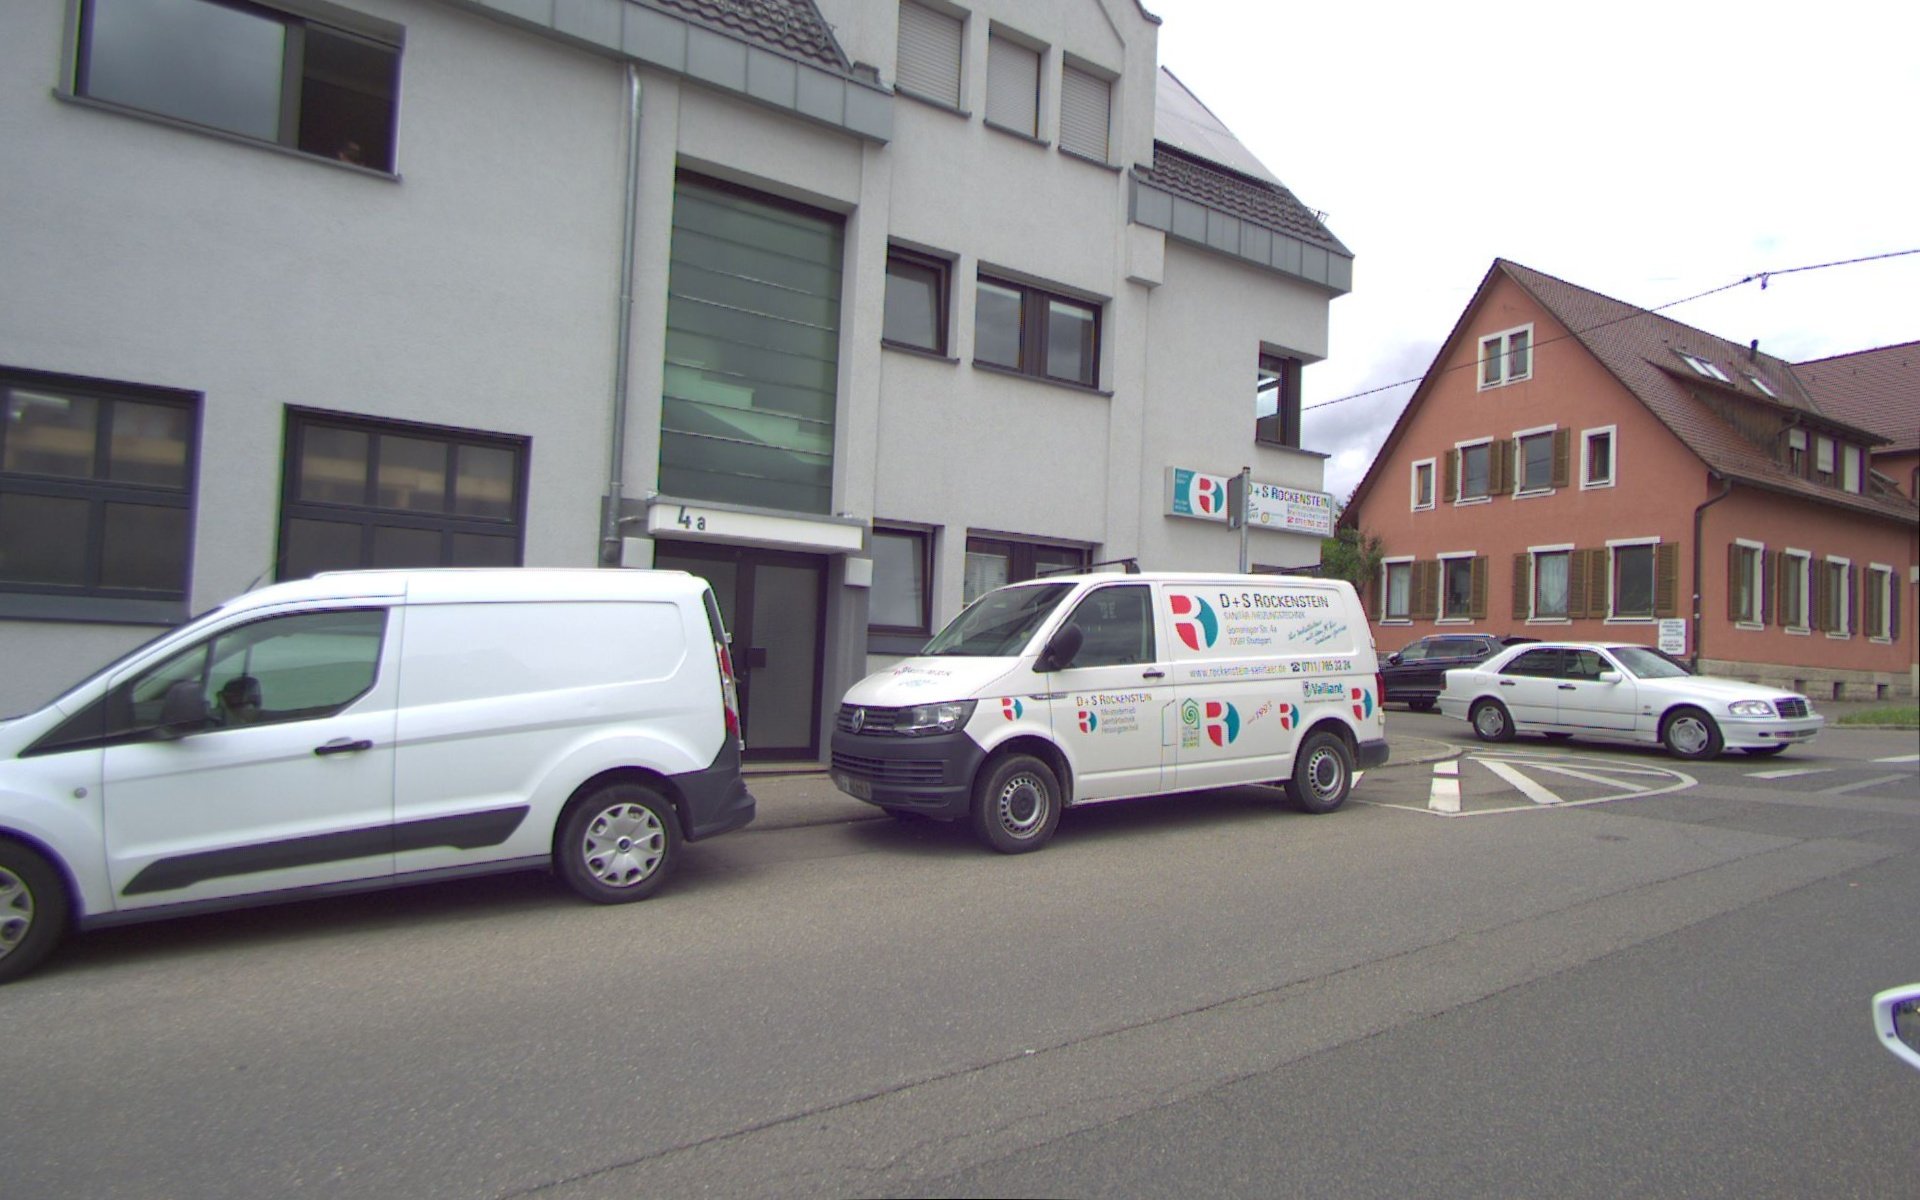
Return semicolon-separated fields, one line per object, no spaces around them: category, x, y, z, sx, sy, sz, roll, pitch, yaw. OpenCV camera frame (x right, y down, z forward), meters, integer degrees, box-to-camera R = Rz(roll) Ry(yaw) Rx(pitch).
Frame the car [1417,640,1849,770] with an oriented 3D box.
car;8.891;1.302;13.774;1.974;1.464;4.538;1;-3;-27

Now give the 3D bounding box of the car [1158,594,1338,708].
car;7.874;1.306;28.027;2.238;2.812;4.926;2;1;-21

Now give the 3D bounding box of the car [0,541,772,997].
car;-3.342;0.751;5.486;4.249;1.855;1.725;1;-3;-32

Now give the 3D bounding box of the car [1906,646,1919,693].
car;31.948;2.237;31.574;1.721;1.494;2.819;3;-2;-27

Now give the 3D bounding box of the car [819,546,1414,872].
car;1.373;0.760;8.231;4.705;2.032;1.805;1;-3;-29

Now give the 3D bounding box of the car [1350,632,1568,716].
car;10.545;1.586;21.581;1.777;1.610;4.039;2;-4;-22
